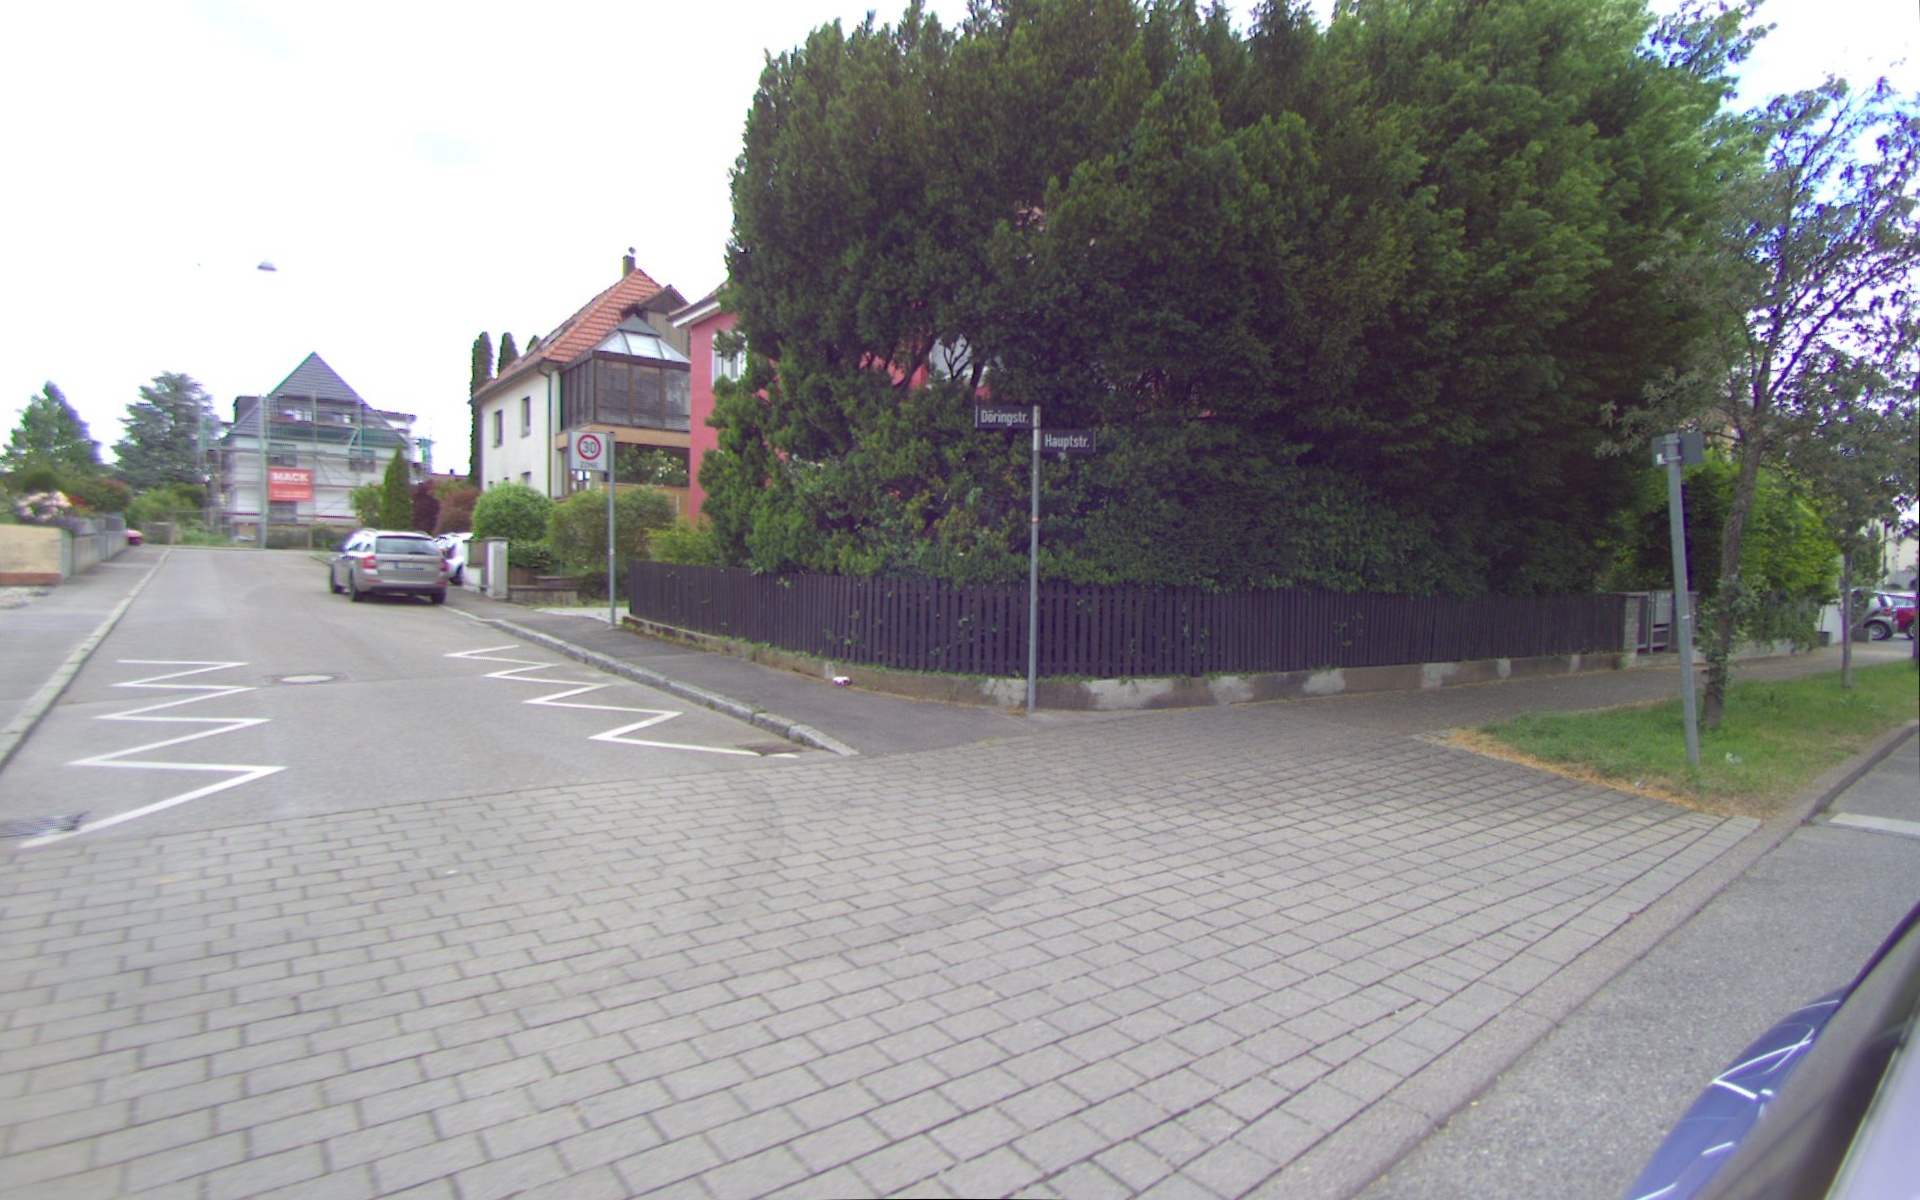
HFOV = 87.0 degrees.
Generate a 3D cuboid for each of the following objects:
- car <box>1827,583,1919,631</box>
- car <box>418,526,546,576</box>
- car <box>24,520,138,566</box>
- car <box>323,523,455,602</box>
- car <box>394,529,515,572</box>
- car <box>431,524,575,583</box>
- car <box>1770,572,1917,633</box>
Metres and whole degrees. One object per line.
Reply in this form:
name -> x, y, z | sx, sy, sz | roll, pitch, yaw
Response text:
car -> 31.698, 0.222, 34.291 | 1.721, 1.477, 3.355 | -1, 4, -44
car -> -15.365, -1.531, 32.580 | 3.439, 1.485, 1.621 | -1, 1, -39
car -> -41.815, -2.683, 48.285 | 3.925, 2.039, 1.999 | -1, 1, -36
car -> -12.239, -0.843, 21.566 | 1.728, 1.442, 4.231 | 2, 3, -39
car -> -17.204, -1.643, 34.490 | 3.439, 1.340, 1.621 | -1, 1, -39
car -> -12.892, -1.263, 28.638 | 3.439, 1.560, 1.621 | -1, 1, -39
car -> 28.879, 0.051, 33.160 | 1.553, 1.653, 3.360 | 0, 5, -41
